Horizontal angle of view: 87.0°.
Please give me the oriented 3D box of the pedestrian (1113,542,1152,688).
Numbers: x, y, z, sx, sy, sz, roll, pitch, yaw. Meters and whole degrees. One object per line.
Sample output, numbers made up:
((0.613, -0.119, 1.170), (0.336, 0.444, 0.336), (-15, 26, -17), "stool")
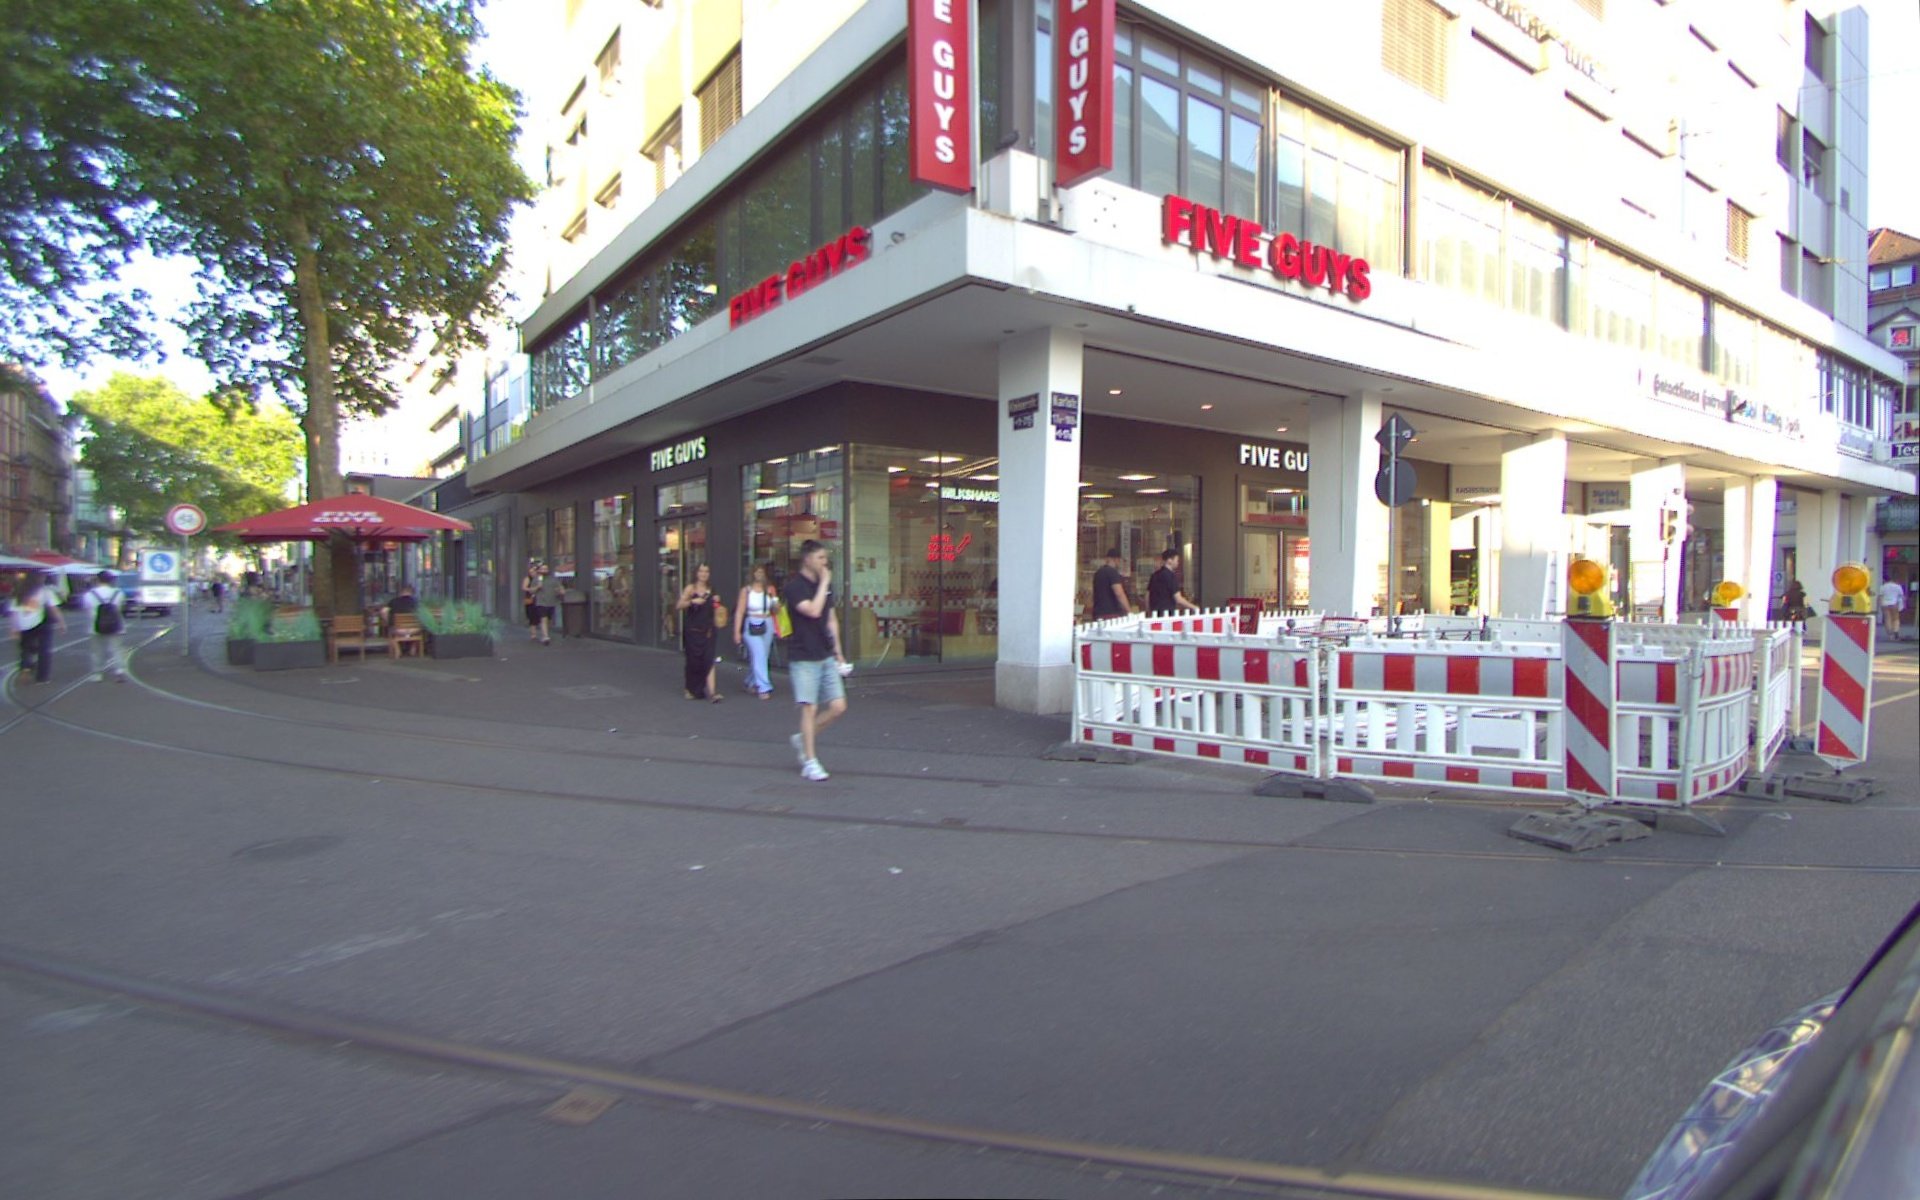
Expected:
((2.468, 0.204, 14.498), (0.463, 2.039, 0.706), (-1, 0, 5), "pedestrian")

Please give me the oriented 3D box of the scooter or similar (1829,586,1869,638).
((22.033, 0.276, 25.074), (1.158, 1.250, 0.506), (-1, 1, -37), "scooter or similar")

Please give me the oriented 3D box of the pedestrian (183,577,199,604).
((-49.435, -0.603, 65.060), (0.746, 1.749, 0.664), (-1, 0, -37), "pedestrian")

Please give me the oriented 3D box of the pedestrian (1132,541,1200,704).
((2.651, 0.276, 13.071), (0.463, 2.039, 0.706), (-1, 0, -40), "pedestrian")

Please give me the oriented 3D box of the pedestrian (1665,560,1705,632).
((18.800, -0.096, 26.236), (0.620, 1.838, 0.700), (-1, 0, -42), "pedestrian")

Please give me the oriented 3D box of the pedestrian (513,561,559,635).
((-10.018, -0.055, 23.919), (0.825, 1.715, 0.841), (-1, 0, -35), "pedestrian")

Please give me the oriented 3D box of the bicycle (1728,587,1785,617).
((33.200, 0.083, 42.184), (1.810, 1.196, 0.772), (-1, 0, -5), "bicycle")

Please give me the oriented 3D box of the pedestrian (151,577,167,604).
((-50.891, -0.603, 64.288), (0.746, 1.749, 0.664), (-1, 0, -37), "pedestrian")

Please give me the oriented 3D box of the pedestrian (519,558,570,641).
((-8.811, -0.022, 21.468), (0.825, 1.715, 0.841), (-1, 0, -35), "pedestrian")

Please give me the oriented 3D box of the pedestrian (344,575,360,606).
((-32.744, -0.515, 54.496), (0.650, 1.631, 0.664), (-1, 0, -37), "pedestrian")

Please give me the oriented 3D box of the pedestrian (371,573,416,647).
((-10.832, 0.186, 19.347), (0.678, 1.387, 0.644), (-1, 0, -37), "pedestrian")

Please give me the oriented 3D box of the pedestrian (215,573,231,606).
((-37.172, -0.530, 51.057), (0.650, 1.631, 0.664), (-1, 0, -37), "pedestrian")

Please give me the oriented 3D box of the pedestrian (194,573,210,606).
((-37.858, -0.527, 50.551), (0.650, 1.631, 0.664), (-1, 0, -37), "pedestrian")

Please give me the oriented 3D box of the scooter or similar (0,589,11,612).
((-41.162, 0.035, 43.246), (0.771, 0.981, 0.664), (-1, 0, -37), "scooter or similar")

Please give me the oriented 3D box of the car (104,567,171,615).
((-36.383, -0.395, 44.847), (1.962, 2.039, 4.294), (-1, 0, -35), "car")

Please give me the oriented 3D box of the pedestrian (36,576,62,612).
((-41.862, -0.293, 46.516), (0.818, 1.631, 0.664), (-1, 0, -37), "pedestrian")

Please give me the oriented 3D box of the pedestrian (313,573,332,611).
((-28.100, -0.356, 44.583), (0.650, 1.631, 0.664), (-1, 0, -37), "pedestrian")

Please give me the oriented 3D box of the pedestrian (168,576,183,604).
((-50.032, -0.634, 64.544), (0.746, 1.749, 0.664), (-1, 0, -37), "pedestrian")

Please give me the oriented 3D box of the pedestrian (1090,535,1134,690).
((2.056, 0.165, 13.743), (0.508, 2.039, 0.780), (-1, 0, 5), "pedestrian")

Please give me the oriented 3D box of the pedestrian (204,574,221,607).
((-37.094, -0.486, 50.226), (0.650, 1.631, 0.664), (-1, 0, -37), "pedestrian")

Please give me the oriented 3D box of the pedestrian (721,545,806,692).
((-2.463, 0.218, 12.662), (0.758, 1.757, 0.790), (-1, 0, -37), "pedestrian")

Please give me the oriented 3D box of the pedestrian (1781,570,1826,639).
((21.391, 0.116, 25.689), (0.692, 1.714, 0.538), (-1, 0, 17), "pedestrian")

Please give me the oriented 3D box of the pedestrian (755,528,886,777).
((-1.063, 0.373, 7.746), (0.719, 1.791, 0.662), (-1, 0, 37), "pedestrian")

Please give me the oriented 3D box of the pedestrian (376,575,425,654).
((-10.201, 0.255, 18.448), (0.678, 1.387, 0.778), (-1, 0, -36), "pedestrian")

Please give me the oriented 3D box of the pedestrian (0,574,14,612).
((-41.519, -0.279, 43.741), (0.818, 1.631, 0.664), (-1, 0, -37), "pedestrian")

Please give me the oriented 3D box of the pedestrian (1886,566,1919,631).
((27.365, -0.058, 29.192), (0.835, 1.838, 0.702), (-1, 0, -29), "pedestrian")

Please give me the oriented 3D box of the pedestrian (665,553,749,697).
((-3.055, 0.283, 12.201), (0.700, 1.651, 0.827), (-1, 0, -36), "pedestrian")

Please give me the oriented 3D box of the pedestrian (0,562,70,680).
((-13.620, 0.297, 14.889), (0.713, 1.682, 0.778), (-1, 0, -37), "pedestrian")

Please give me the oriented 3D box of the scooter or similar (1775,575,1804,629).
((23.513, 0.048, 28.681), (1.290, 1.507, 0.315), (-1, 1, -36), "scooter or similar")

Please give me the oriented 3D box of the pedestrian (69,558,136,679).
((-12.916, 0.261, 15.267), (0.700, 1.757, 0.778), (-1, 0, -36), "pedestrian")
